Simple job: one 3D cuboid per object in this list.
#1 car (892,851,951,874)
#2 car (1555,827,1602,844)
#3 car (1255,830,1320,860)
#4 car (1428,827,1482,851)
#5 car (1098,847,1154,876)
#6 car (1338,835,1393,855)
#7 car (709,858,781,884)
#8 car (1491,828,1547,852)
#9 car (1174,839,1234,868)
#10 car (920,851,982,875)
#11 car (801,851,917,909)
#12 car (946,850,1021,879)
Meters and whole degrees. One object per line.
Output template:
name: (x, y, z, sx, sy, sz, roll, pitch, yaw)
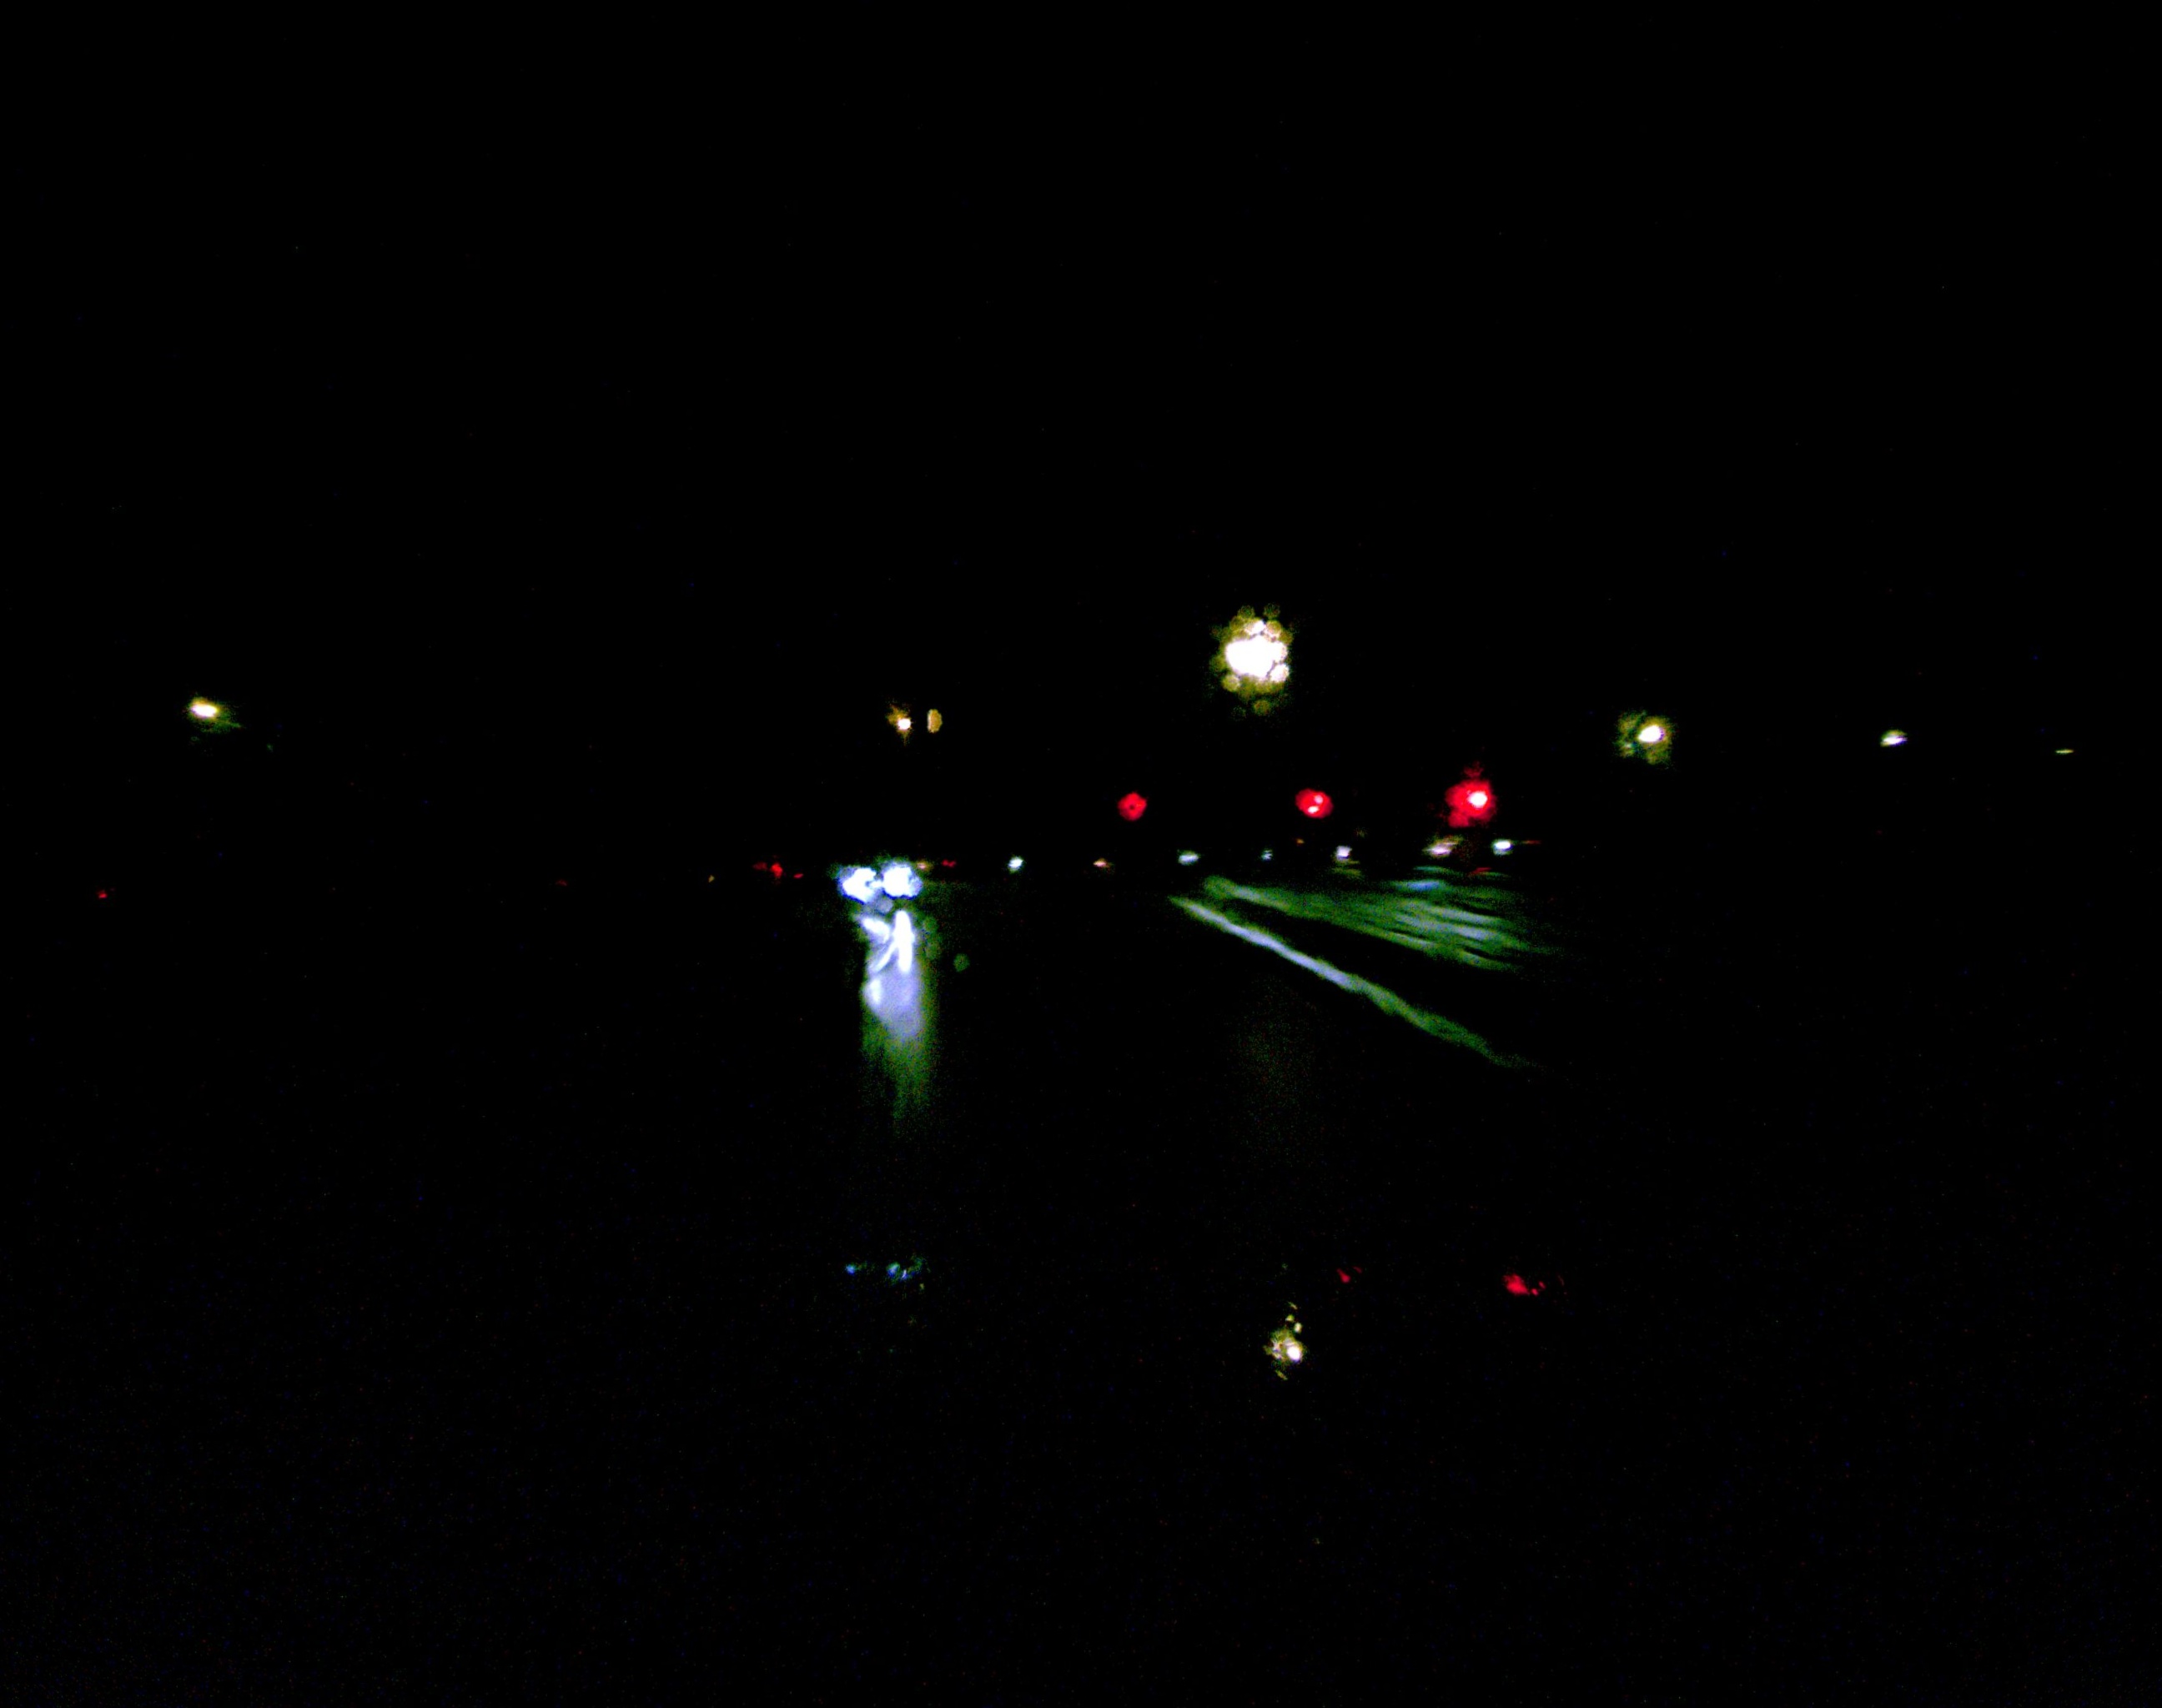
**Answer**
car: (-11.661, 0.649, 55.460, 4.002, 1.432, 1.717, -3, -1, -17)
car: (49.419, -1.831, 75.466, 4.002, 1.432, 1.717, -3, -1, -17)
car: (15.379, -0.644, 56.647, 4.001, 1.783, 1.998, -6, 0, -14)
car: (34.534, -1.397, 70.261, 4.001, 1.783, 1.998, -5, 0, -14)
car: (3.570, 0.591, 60.788, 4.000, 1.838, 1.861, -6, 0, -11)
car: (23.711, -0.720, 63.303, 4.002, 1.432, 1.717, -3, -1, -17)
car: (-21.511, 1.118, 48.833, 4.002, 1.432, 1.717, -3, -1, -17)
car: (39.670, -1.269, 68.832, 4.001, 1.783, 1.998, -5, 0, -14)
car: (9.444, -0.044, 58.480, 4.001, 1.783, 1.998, -6, 0, -14)
car: (-8.989, 0.651, 52.599, 4.002, 1.432, 1.717, -3, -1, -17)
car: (-7.614, 0.844, 25.858, 2.004, 1.737, 4.089, -3, 1, -45)
car: (-5.652, 0.606, 43.984, 4.002, 1.432, 1.717, -3, -1, -17)
